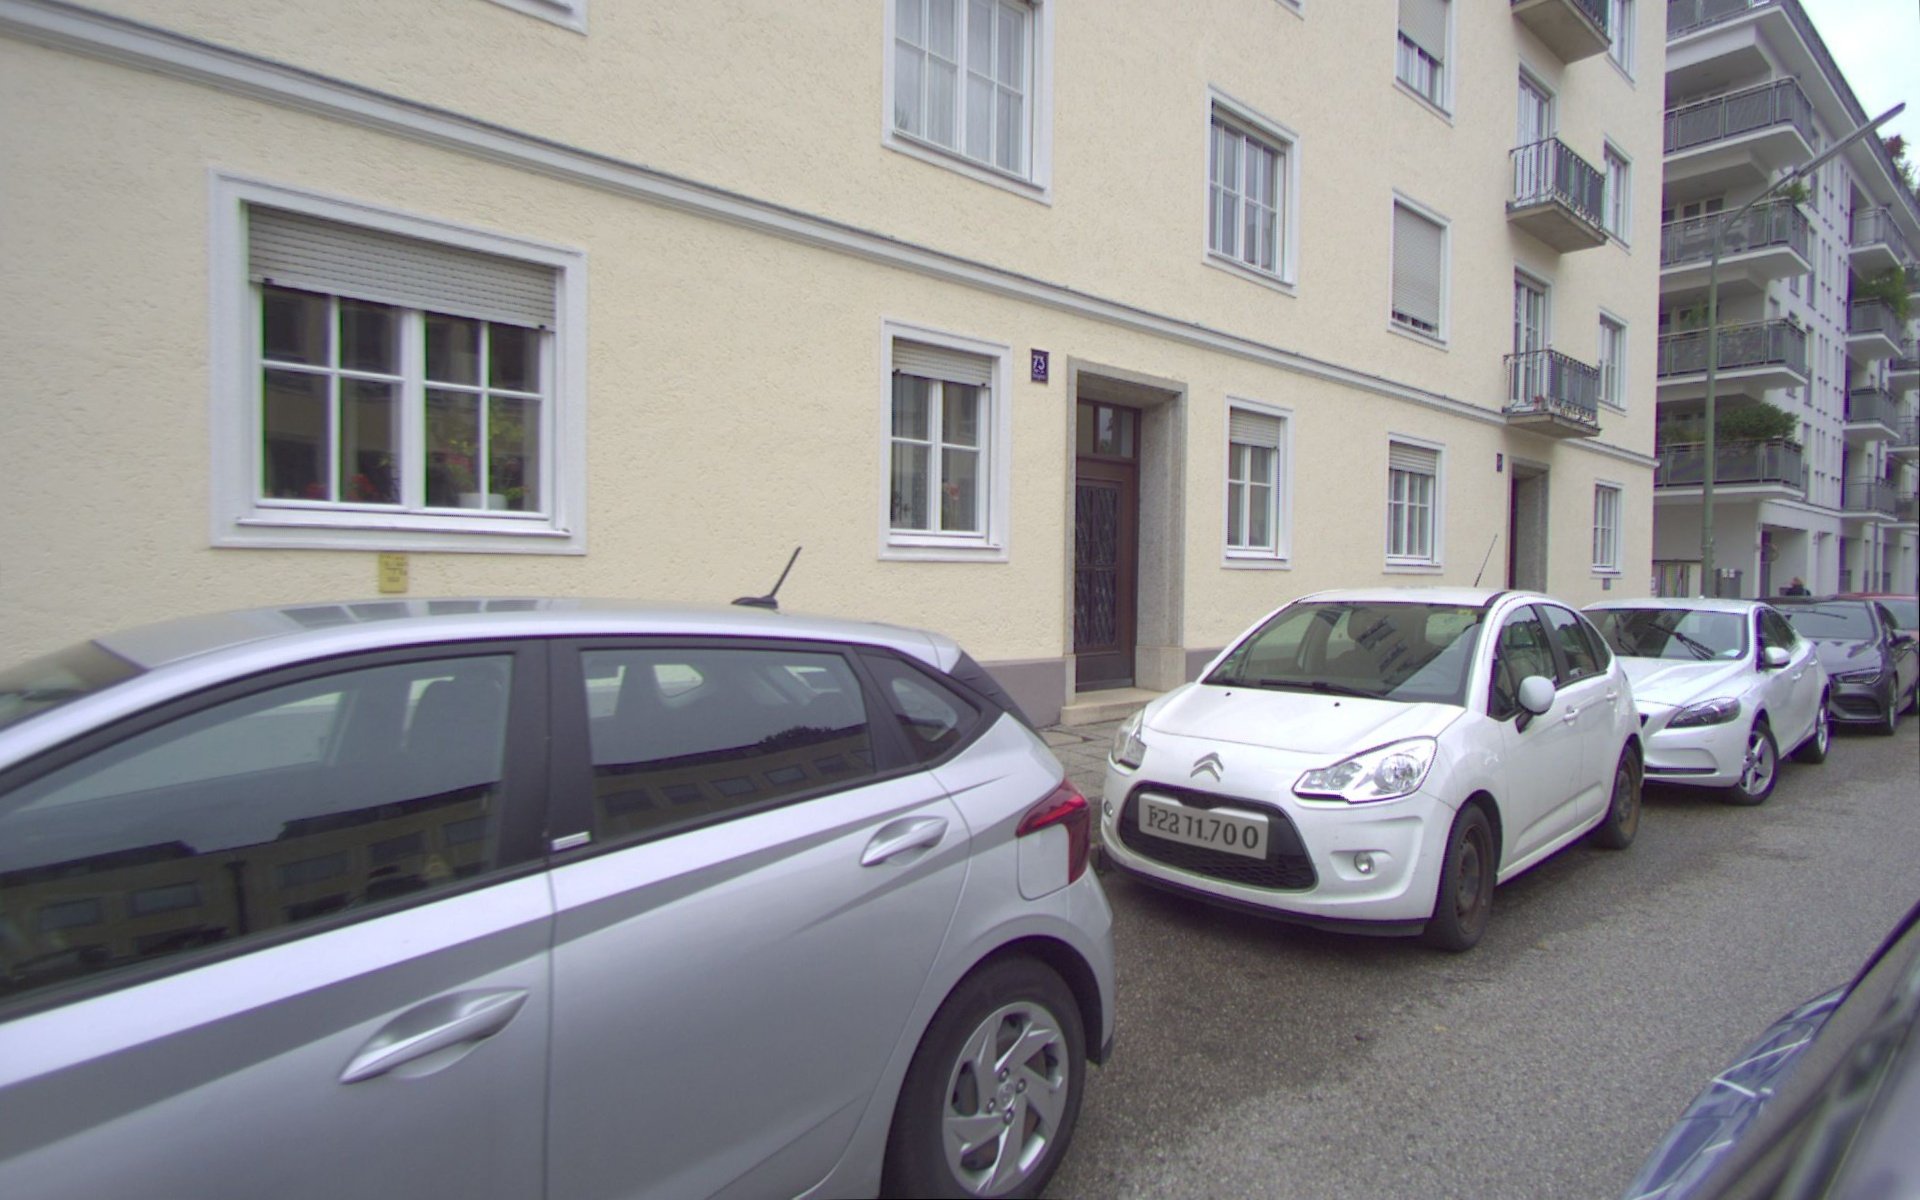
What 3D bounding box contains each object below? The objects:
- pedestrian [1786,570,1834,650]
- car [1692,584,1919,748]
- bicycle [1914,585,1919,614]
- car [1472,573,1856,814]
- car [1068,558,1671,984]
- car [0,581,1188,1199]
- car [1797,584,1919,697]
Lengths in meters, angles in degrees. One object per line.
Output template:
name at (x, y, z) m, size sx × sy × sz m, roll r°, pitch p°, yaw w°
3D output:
pedestrian at (19.088, 0.212, 22.738) m, size 0.793 × 1.749 × 0.662 m, roll 0°, pitch 2°, yaw 43°
car at (10.180, 0.605, 11.858) m, size 4.269 × 1.510 × 1.695 m, roll -1°, pitch 3°, yaw -42°
bicycle at (40.203, -0.030, 42.071) m, size 2.091 × 1.174 × 0.628 m, roll -1°, pitch 2°, yaw -43°
car at (6.058, 0.591, 8.501) m, size 4.208 × 1.510 × 1.695 m, roll 0°, pitch 2°, yaw -42°
car at (2.417, 0.584, 5.461) m, size 3.735 × 1.510 × 1.601 m, roll 0°, pitch 1°, yaw -43°
car at (-1.394, 0.708, 2.054) m, size 3.877 × 1.450 × 1.695 m, roll -1°, pitch 1°, yaw -42°
car at (14.227, 0.532, 15.434) m, size 3.733 × 1.527 × 1.599 m, roll -1°, pitch 2°, yaw -40°
